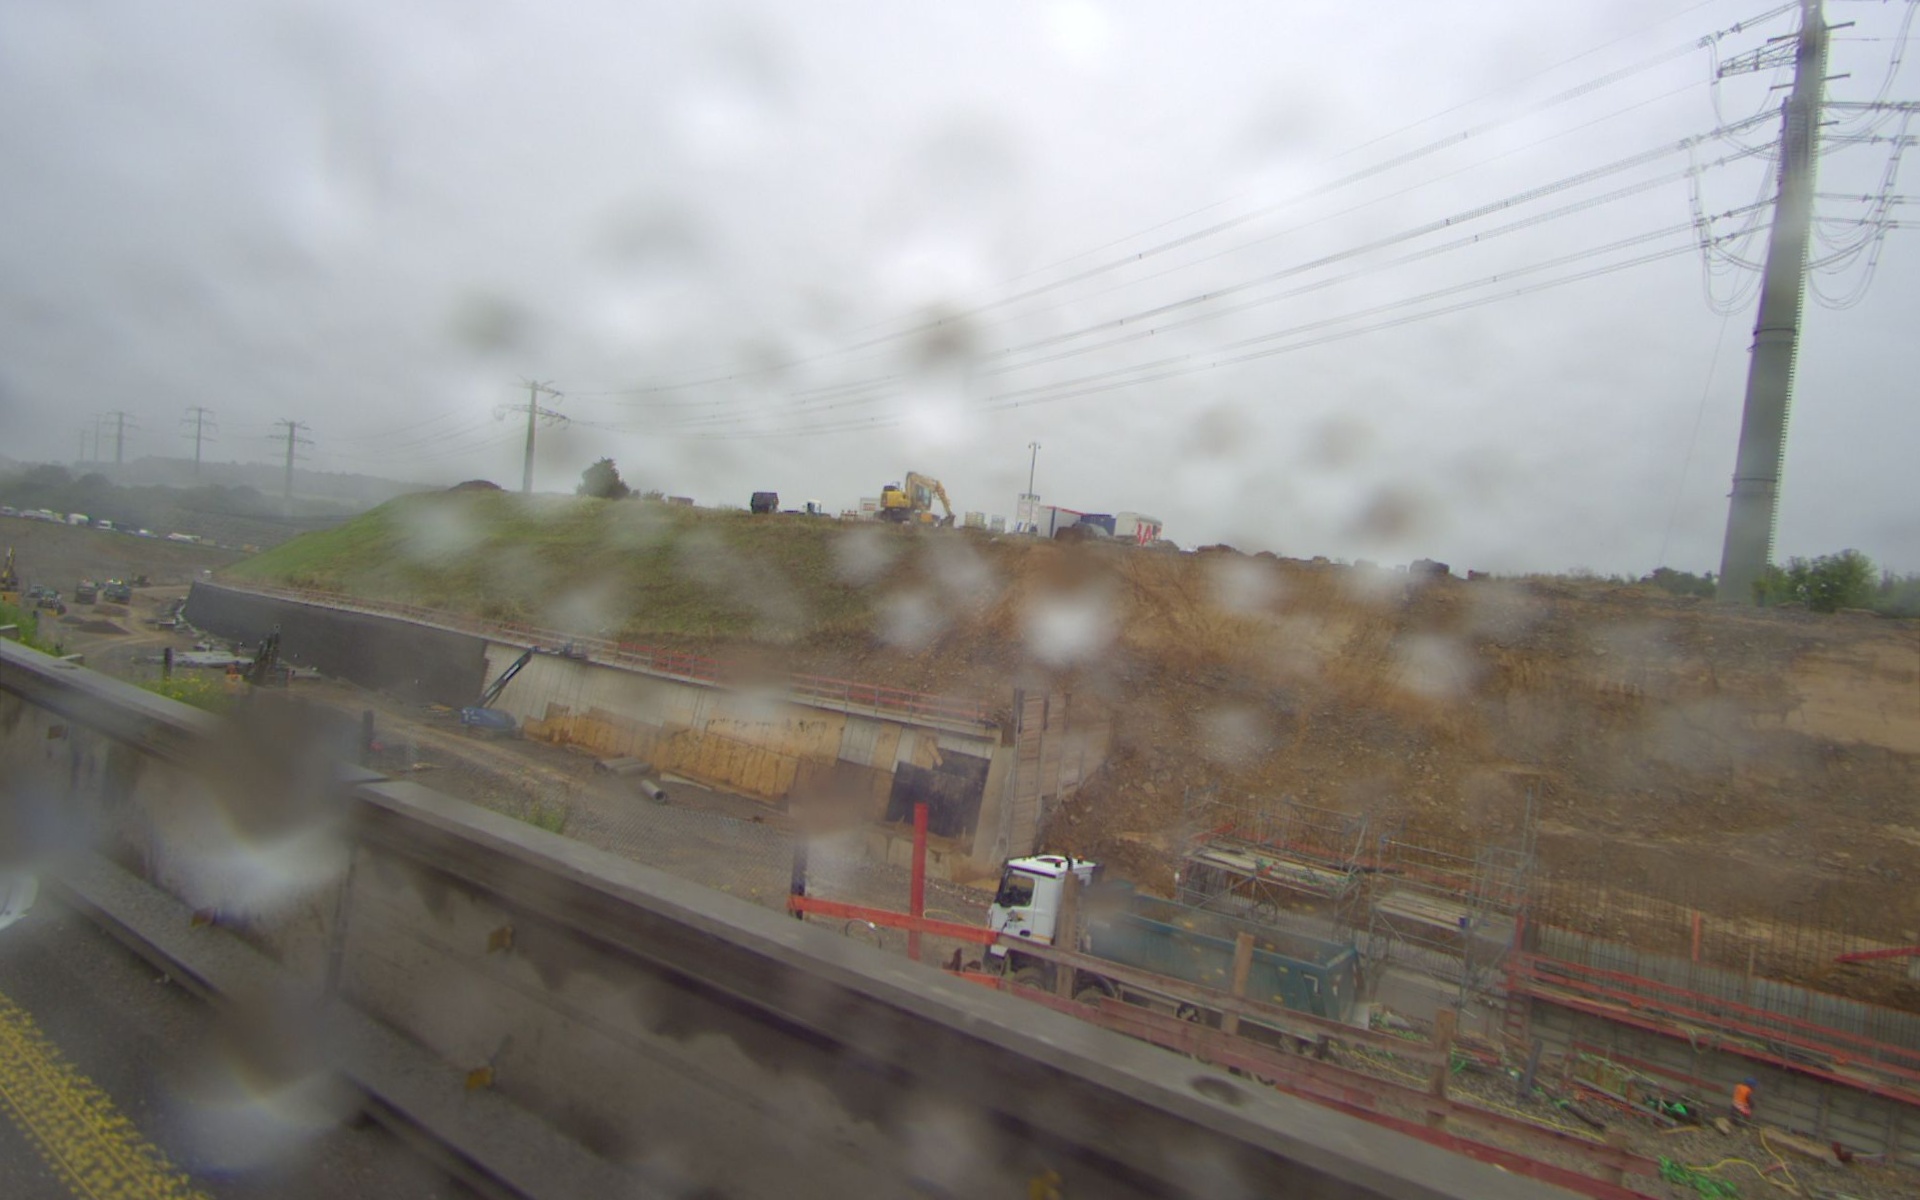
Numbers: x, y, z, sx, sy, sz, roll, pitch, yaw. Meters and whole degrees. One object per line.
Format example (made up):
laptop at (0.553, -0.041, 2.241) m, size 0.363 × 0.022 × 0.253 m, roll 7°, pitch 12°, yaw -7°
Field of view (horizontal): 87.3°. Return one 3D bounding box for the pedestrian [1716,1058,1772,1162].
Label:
pedestrian at (19.192, 12.463, 24.649) m, size 0.891 × 2.013 × 0.901 m, roll 5°, pitch -11°, yaw 35°

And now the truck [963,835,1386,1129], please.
truck at (4.621, 8.258, 23.205) m, size 8.926 × 3.531 × 2.731 m, roll 5°, pitch -2°, yaw 36°

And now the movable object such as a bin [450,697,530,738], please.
movable object such as a bin at (-28.353, 7.068, 60.782) m, size 3.772 × 2.035 × 2.002 m, roll 6°, pitch -4°, yaw -5°

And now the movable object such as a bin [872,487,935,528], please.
movable object such as a bin at (-4.294, -7.024, 76.293) m, size 3.910 × 2.473 × 2.428 m, roll 8°, pitch 0°, yaw 39°
